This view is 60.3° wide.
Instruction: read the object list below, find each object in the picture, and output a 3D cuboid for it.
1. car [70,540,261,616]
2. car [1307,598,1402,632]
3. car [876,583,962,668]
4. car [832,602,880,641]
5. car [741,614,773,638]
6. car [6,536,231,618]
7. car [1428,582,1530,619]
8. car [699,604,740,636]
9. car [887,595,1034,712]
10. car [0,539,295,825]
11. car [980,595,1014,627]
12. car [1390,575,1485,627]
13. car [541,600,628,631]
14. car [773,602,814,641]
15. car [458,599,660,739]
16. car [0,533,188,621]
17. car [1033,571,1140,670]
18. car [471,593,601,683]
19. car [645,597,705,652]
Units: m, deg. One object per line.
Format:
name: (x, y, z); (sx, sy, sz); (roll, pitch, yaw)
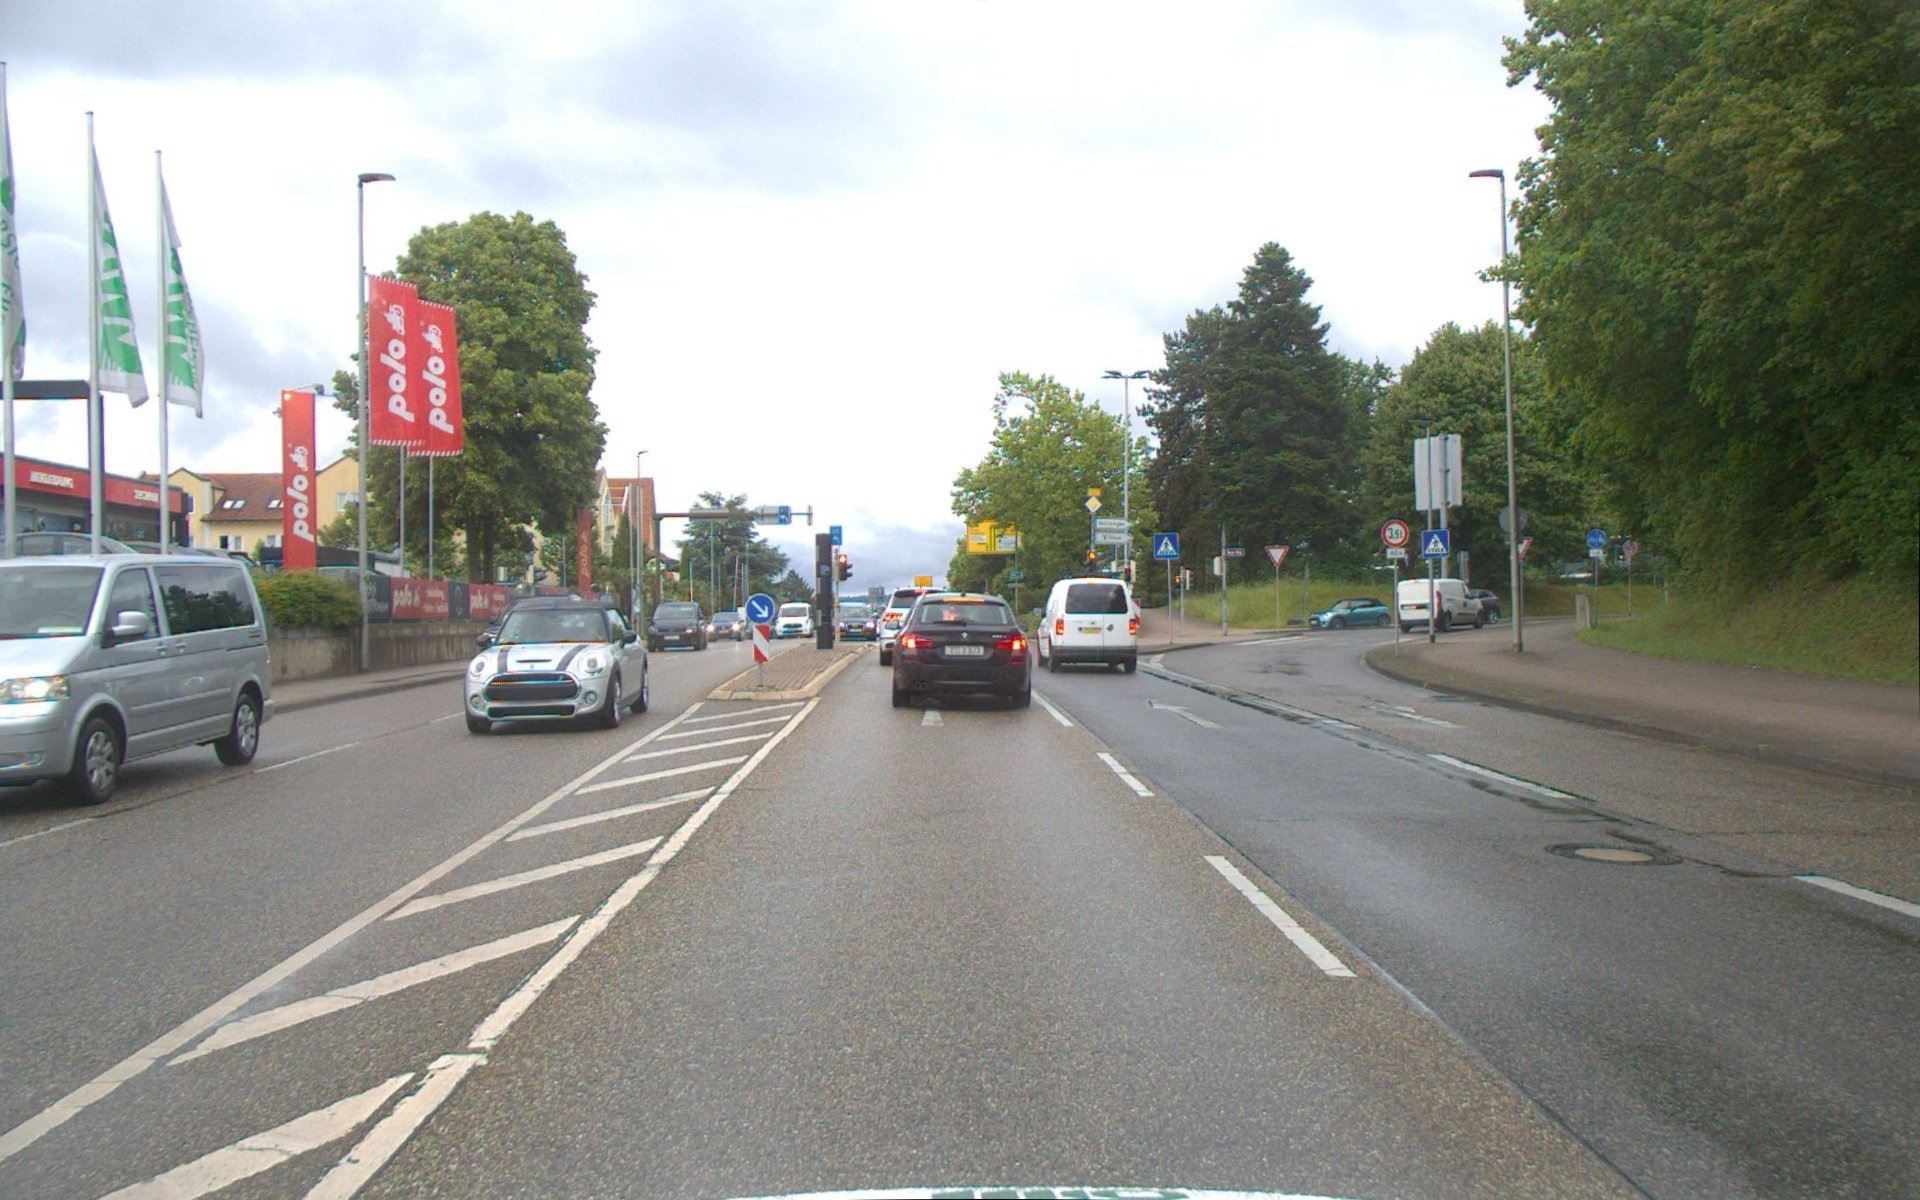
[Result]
car: (-17.225, -0.468, 35.981); (3.347, 1.536, 1.582); (-1, 0, -3)
car: (17.855, 0.661, 74.808); (3.928, 1.316, 1.600); (-3, 1, -20)
car: (-0.860, 0.523, 36.542); (1.692, 1.740, 3.383); (0, 1, 2)
car: (-4.301, 0.874, 68.029); (1.857, 1.481, 4.093); (-1, 0, -5)
car: (-13.079, 1.674, 106.716); (1.634, 1.406, 4.070); (-2, 0, -2)
car: (-16.675, -0.450, 32.921); (3.579, 1.508, 1.738); (-1, 0, -9)
car: (22.741, 0.016, 72.448); (4.273, 1.492, 1.881); (-2, 0, -31)
car: (-11.807, 0.947, 81.391); (1.602, 1.405, 3.763); (-3, 1, -3)
car: (0.039, 0.656, 22.456); (1.816, 1.444, 3.957); (0, 0, 1)
car: (-7.465, 0.597, 14.164); (1.760, 2.017, 4.895); (-3, 1, -4)
car: (1.775, 0.501, 80.755); (1.567, 1.395, 3.680); (-2, 1, 0)
car: (17.140, 0.019, 59.306); (1.787, 1.738, 3.923); (0, 2, 41)
car: (-19.662, 0.828, 86.627); (4.148, 1.481, 1.783); (-2, 0, -29)
car: (-8.666, 1.102, 86.495); (1.821, 1.855, 4.576); (-3, 0, -3)
car: (-4.720, 0.745, 19.967); (1.634, 1.422, 3.997); (-3, 0, -4)
car: (-16.529, -0.410, 30.505); (3.755, 1.508, 1.738); (-1, 0, -9)
car: (2.519, 0.386, 33.769); (1.706, 1.902, 3.944); (0, 0, -3)
car: (-8.812, 0.741, 34.744); (1.716, 1.638, 4.530); (-3, 1, -3)
car: (-9.685, 0.802, 56.363); (1.723, 1.706, 4.142); (-3, 0, -7)
